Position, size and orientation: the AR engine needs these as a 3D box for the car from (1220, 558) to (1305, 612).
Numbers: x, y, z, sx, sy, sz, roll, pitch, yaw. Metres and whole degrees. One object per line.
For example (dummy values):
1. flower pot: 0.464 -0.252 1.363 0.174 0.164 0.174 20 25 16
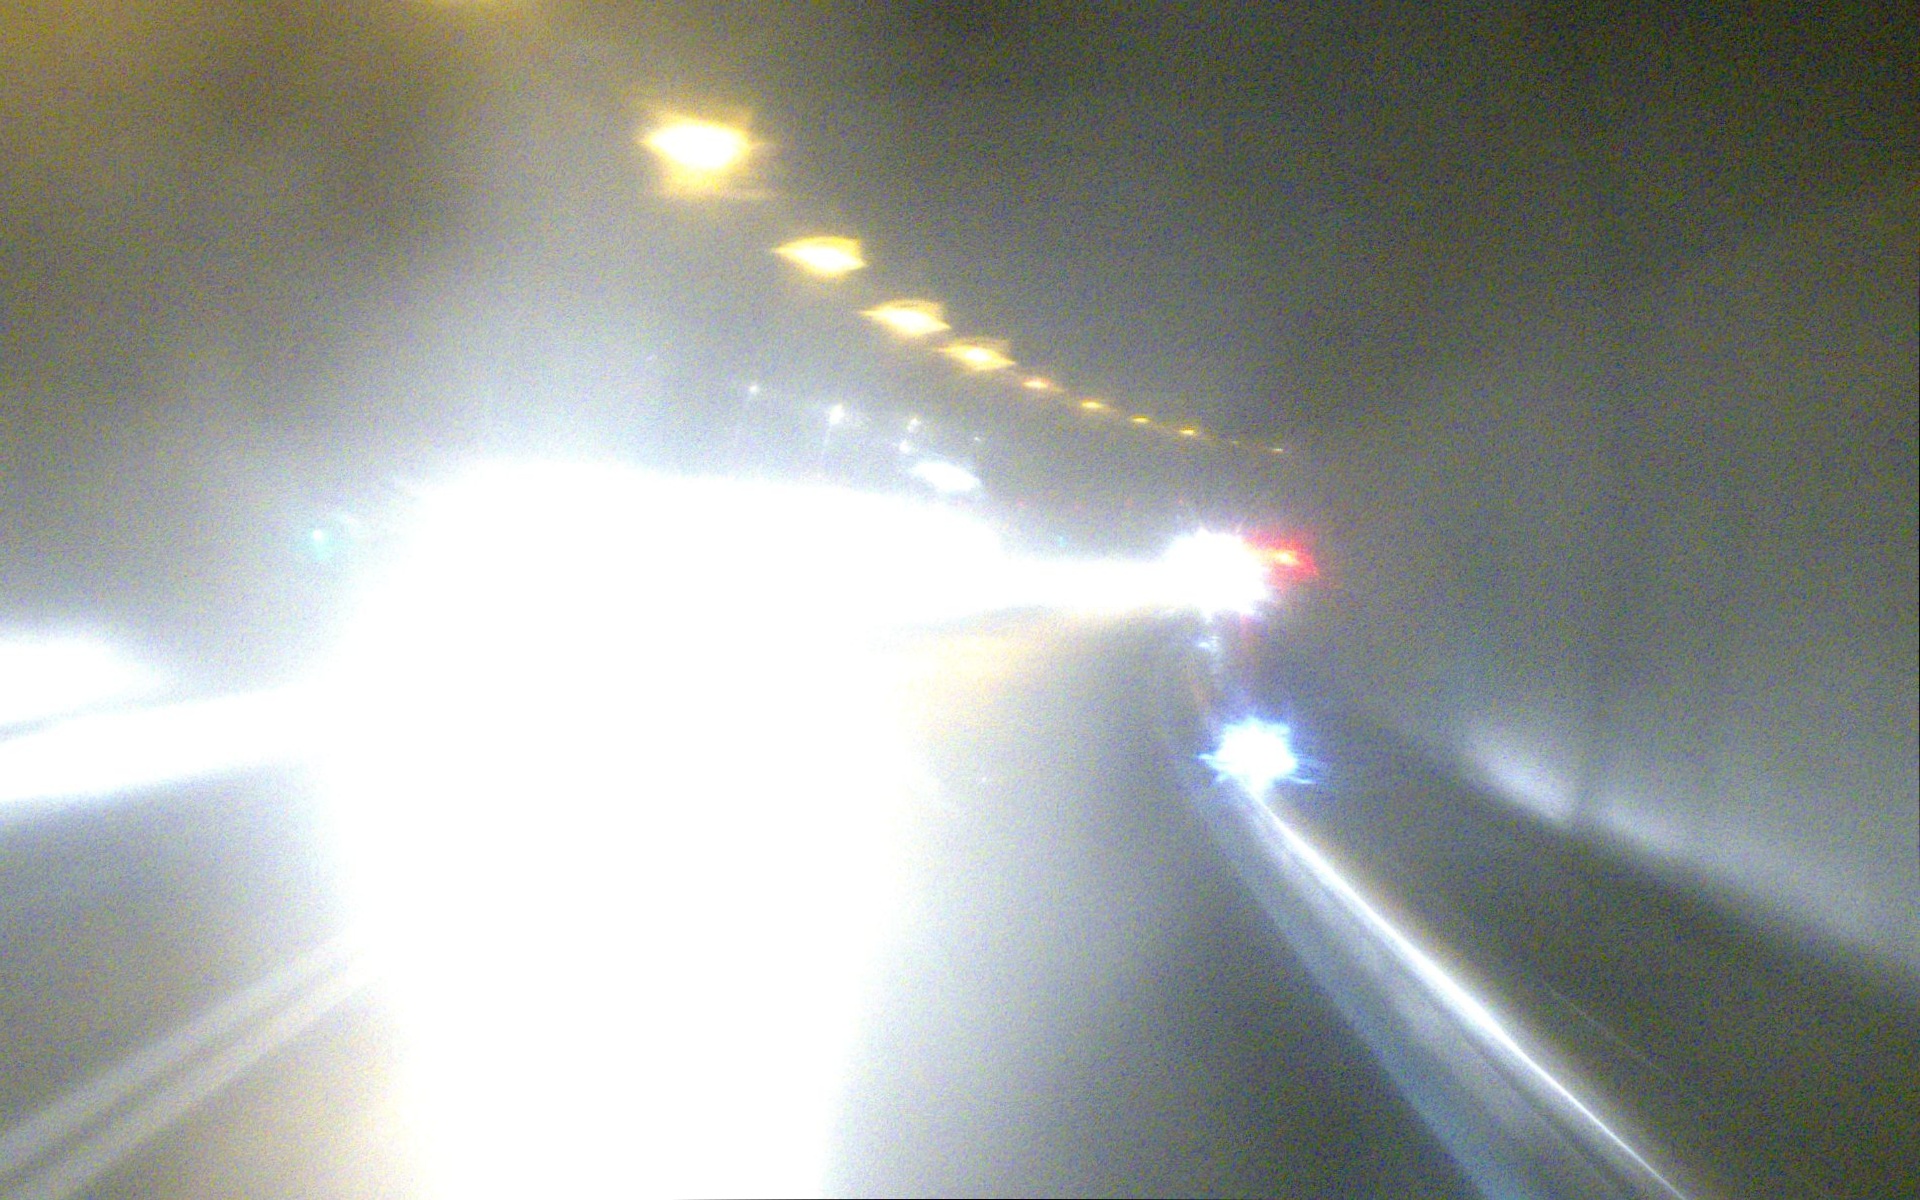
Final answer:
1. car: 9.585 -0.493 108.734 1.995 1.645 3.997 1 1 15

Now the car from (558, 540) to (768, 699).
1. car: -2.985 0.159 35.245 1.709 1.505 4.079 1 1 1
